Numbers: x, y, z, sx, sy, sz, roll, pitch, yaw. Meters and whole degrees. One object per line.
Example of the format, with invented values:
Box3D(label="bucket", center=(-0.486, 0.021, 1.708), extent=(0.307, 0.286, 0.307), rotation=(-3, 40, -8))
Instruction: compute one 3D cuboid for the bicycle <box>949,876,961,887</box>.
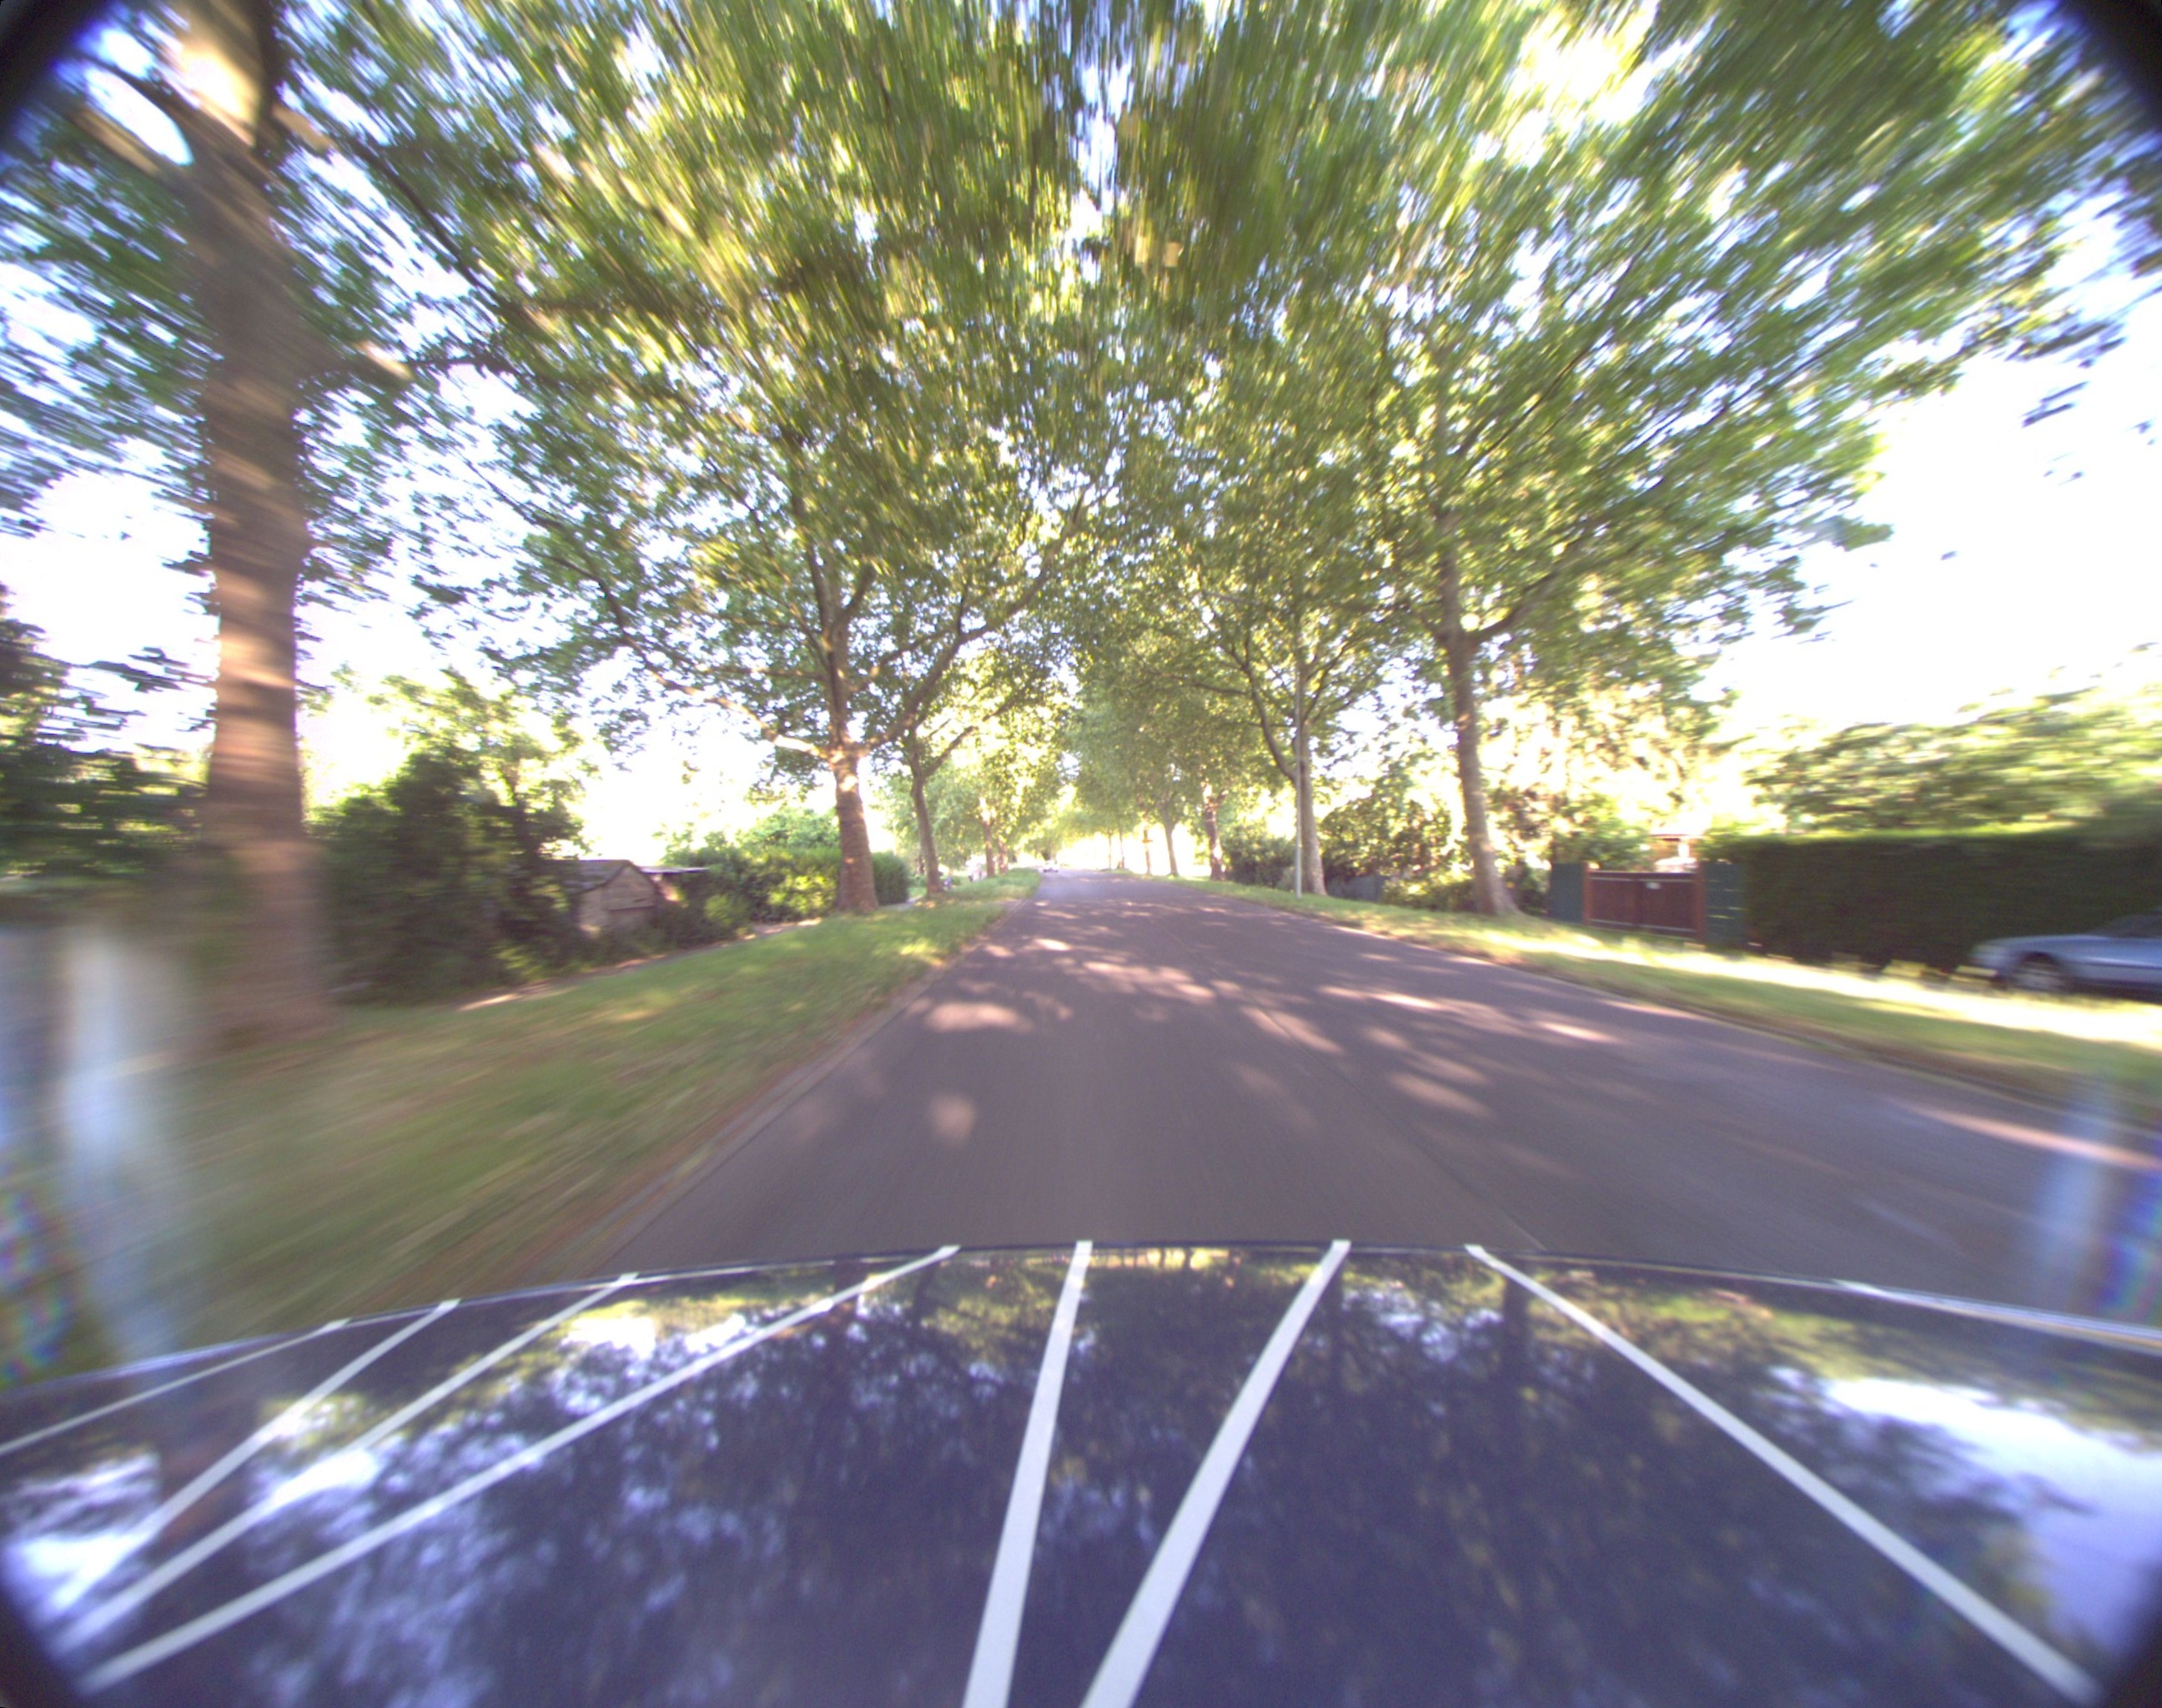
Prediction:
Box3D(label="bicycle", center=(-10.041, 2.190, 60.602), extent=(0.553, 0.812, 1.889), rotation=(-2, 1, 2))

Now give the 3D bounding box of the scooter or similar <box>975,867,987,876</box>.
Box3D(label="scooter or similar", center=(-13.714, 2.443, 104.218), extent=(0.340, 1.128, 1.602), rotation=(-1, 1, 45))

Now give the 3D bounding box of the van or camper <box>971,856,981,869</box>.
Box3D(label="van or camper", center=(-24.763, 2.015, 179.139), extent=(2.388, 2.783, 5.680), rotation=(-2, 1, -8))

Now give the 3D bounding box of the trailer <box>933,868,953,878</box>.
Box3D(label="trailer", center=(-16.066, 2.206, 88.548), extent=(2.123, 1.046, 1.200), rotation=(-2, 1, 0))

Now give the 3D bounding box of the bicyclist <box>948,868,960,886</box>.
Box3D(label="bicyclist", center=(-10.057, 1.825, 60.352), extent=(0.735, 1.358, 0.771), rotation=(-2, 1, 2))

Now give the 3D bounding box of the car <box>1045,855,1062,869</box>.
Box3D(label="car", center=(-3.512, 1.055, 97.230), extent=(1.999, 1.655, 3.998), rotation=(-2, 0, -5))

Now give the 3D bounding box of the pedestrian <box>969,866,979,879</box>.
Box3D(label="pedestrian", center=(-13.345, 2.331, 94.723), extent=(0.843, 1.567, 0.785), rotation=(-1, 1, 17))

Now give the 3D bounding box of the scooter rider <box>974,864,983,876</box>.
Box3D(label="scooter rider", center=(-13.965, 2.215, 103.971), extent=(0.782, 1.567, 0.846), rotation=(-3, -1, 41))

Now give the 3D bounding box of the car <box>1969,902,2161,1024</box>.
Box3D(label="car", center=(13.173, 1.281, 8.473), extent=(1.757, 1.296, 3.999), rotation=(0, -1, -4))
